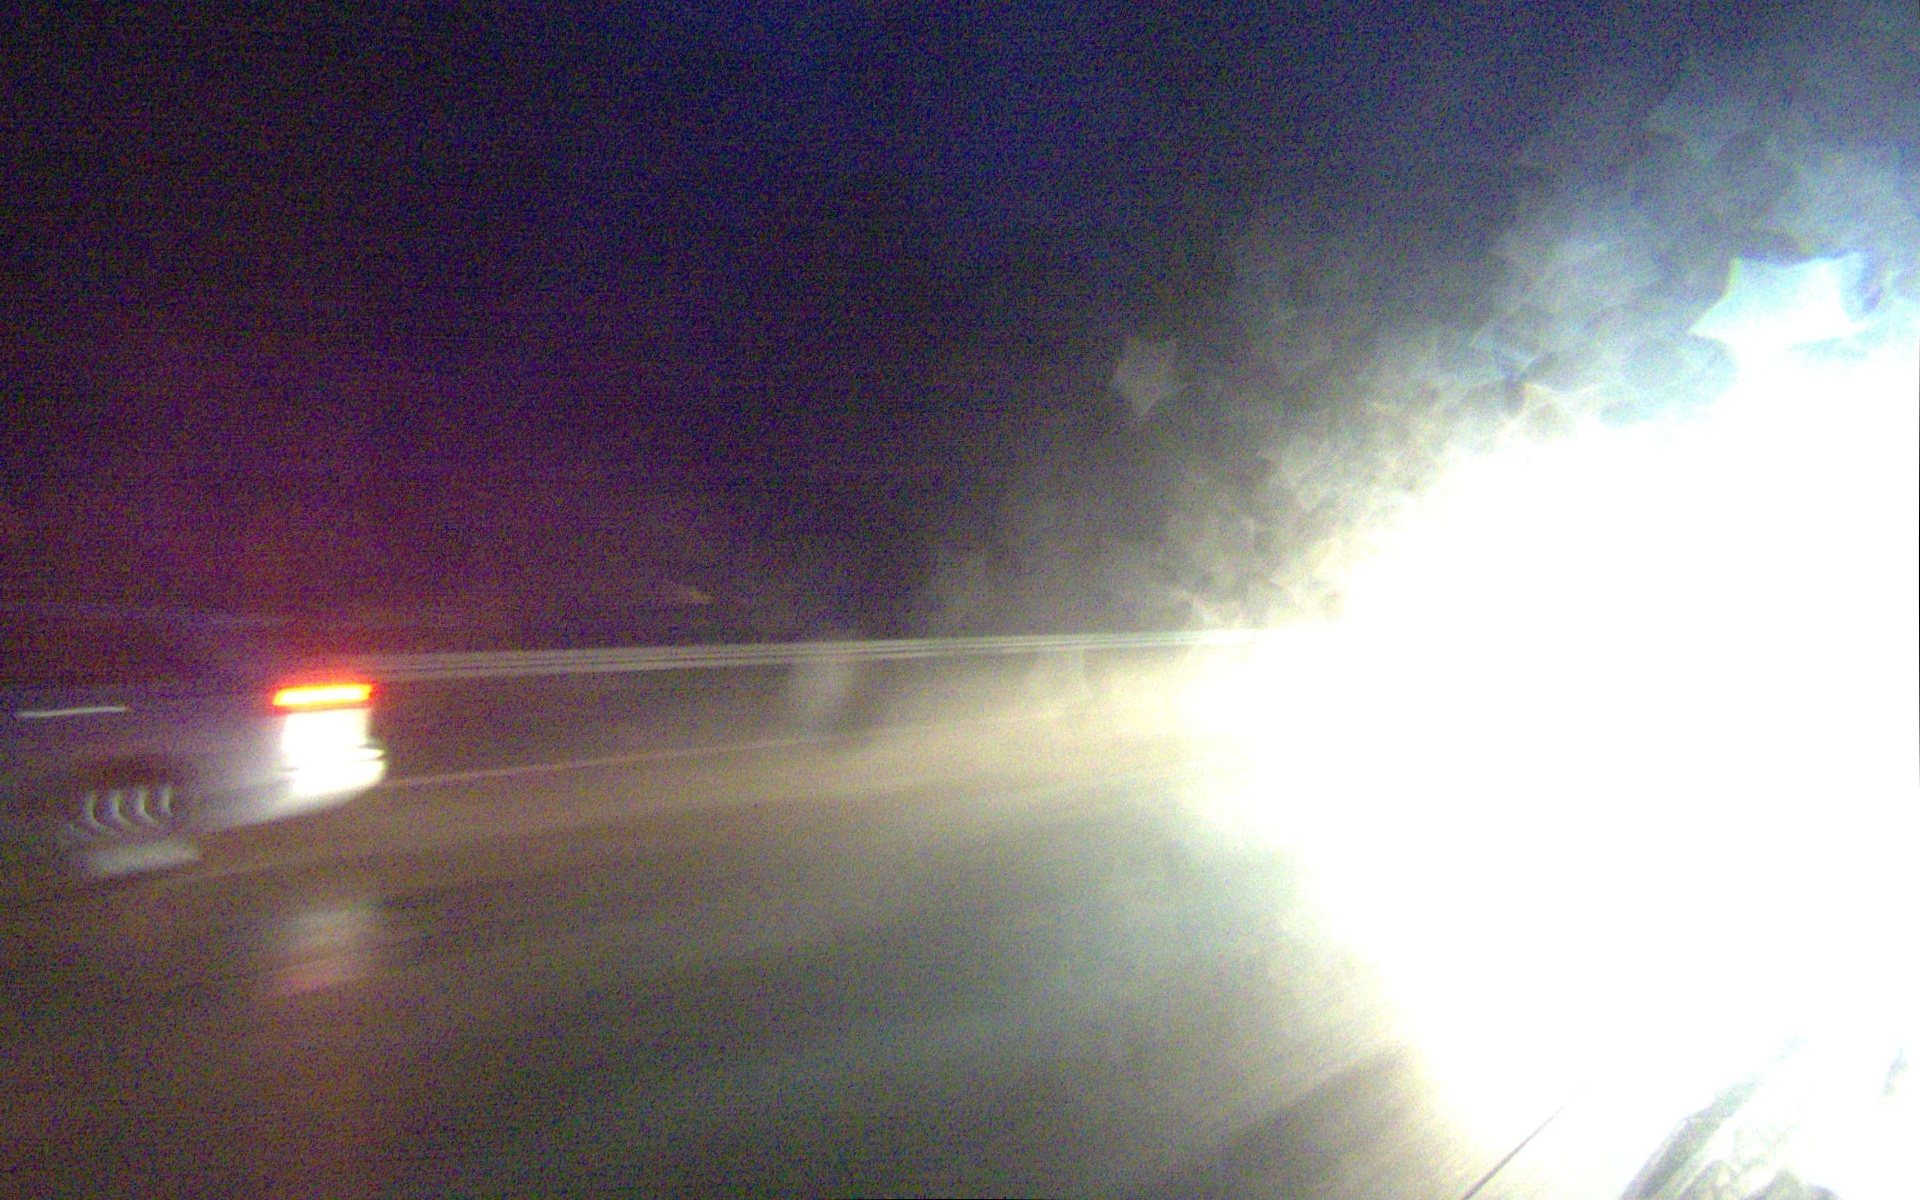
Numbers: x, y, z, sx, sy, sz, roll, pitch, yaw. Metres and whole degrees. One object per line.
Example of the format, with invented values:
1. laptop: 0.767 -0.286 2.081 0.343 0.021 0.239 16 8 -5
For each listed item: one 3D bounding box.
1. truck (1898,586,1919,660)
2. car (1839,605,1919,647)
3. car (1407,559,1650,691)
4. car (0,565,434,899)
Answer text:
1. truck: 24.548 0.520 24.748 4.769 1.717 1.847 -1 0 -41
2. car: 35.276 0.945 38.752 5.272 1.498 1.746 0 0 -41
3. car: 10.124 0.369 17.823 5.311 1.999 2.050 0 0 -41
4. car: -5.433 0.591 4.838 4.877 1.505 1.896 0 0 -42
